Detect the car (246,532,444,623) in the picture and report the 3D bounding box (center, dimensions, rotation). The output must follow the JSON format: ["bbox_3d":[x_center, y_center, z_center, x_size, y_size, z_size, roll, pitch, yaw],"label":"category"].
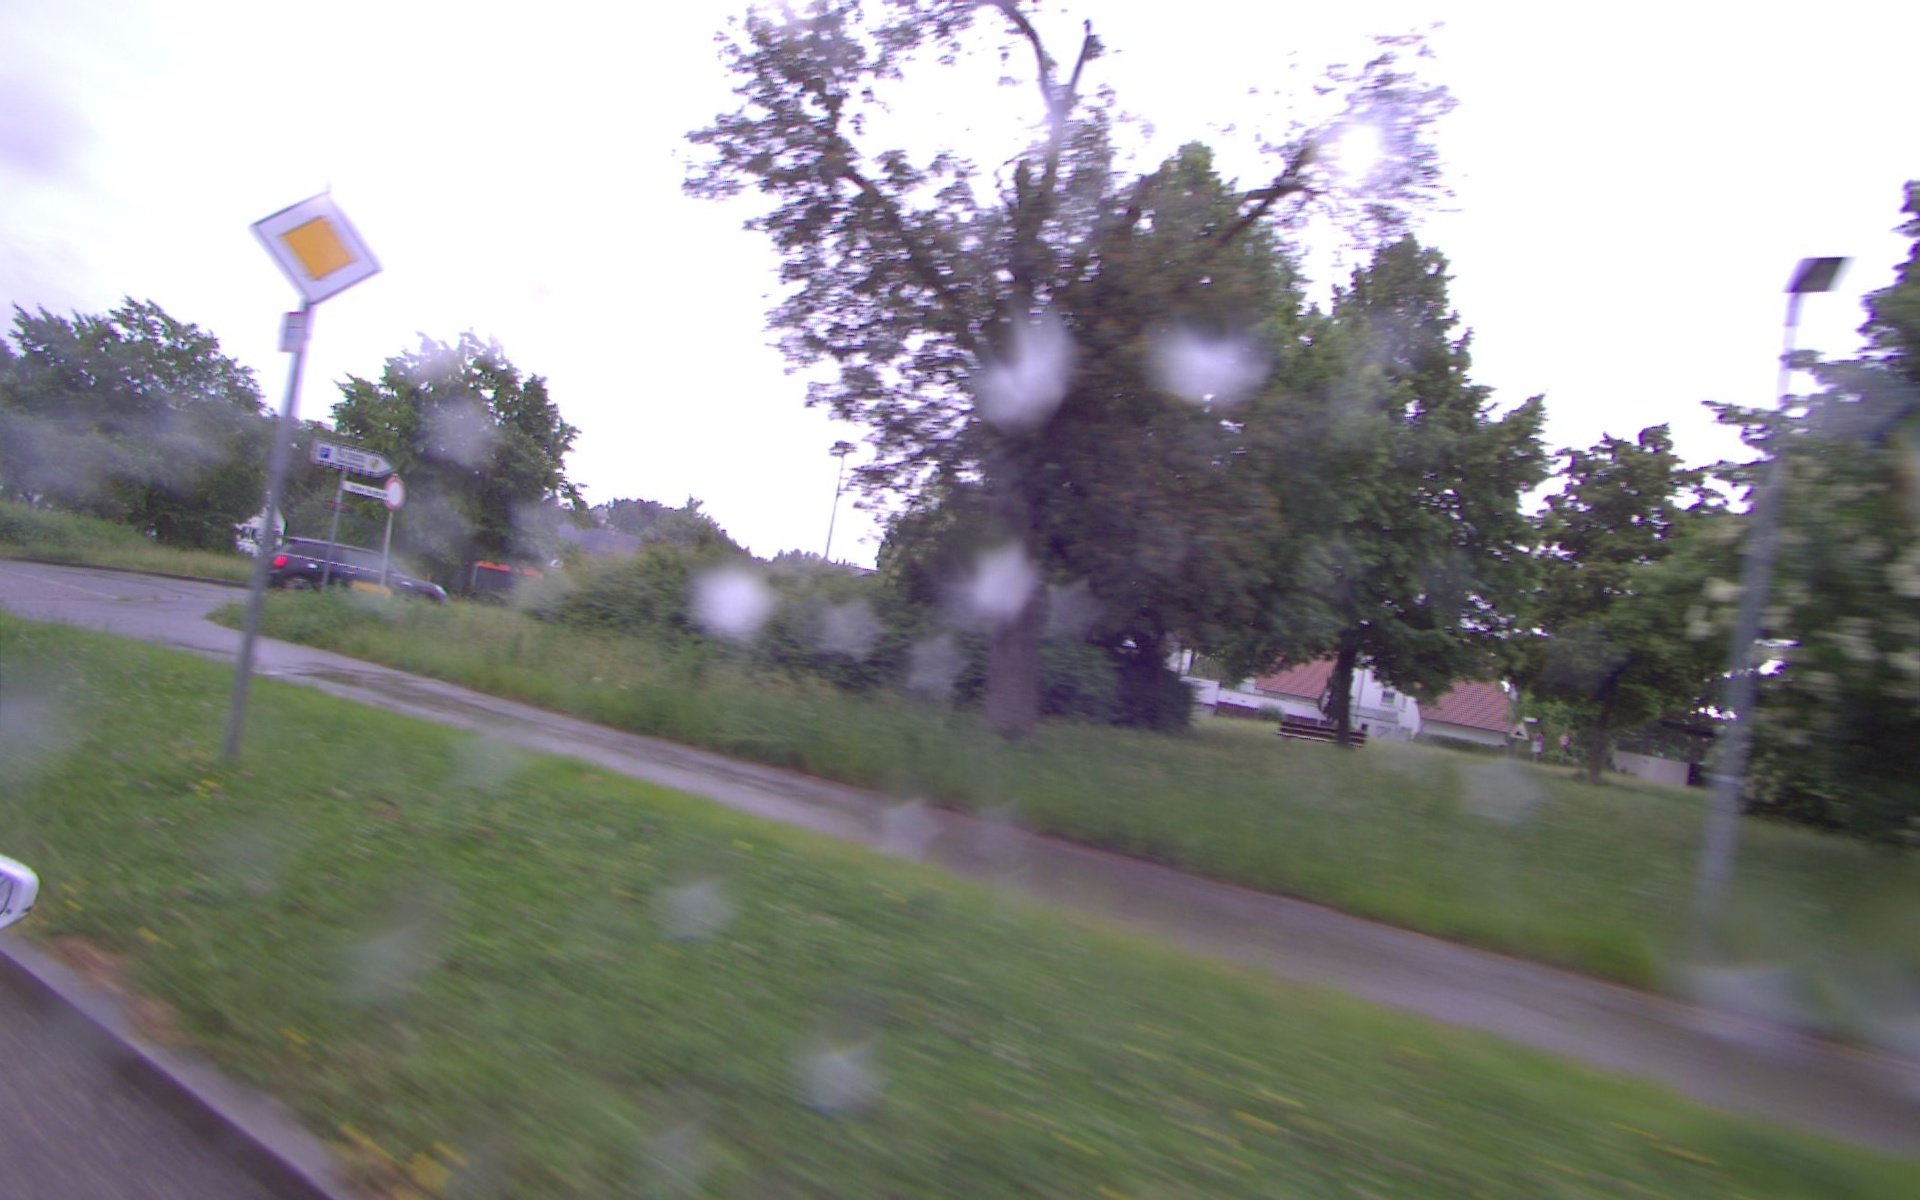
[{"bbox_3d":[-13.892,-0.478,22.832,3.516,1.369,1.442,13,-5,-42],"label":"car"}]

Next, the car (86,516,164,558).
[{"bbox_3d":[-42.790,-3.232,51.526,3.936,1.526,1.933,8,-1,34],"label":"car"}]
